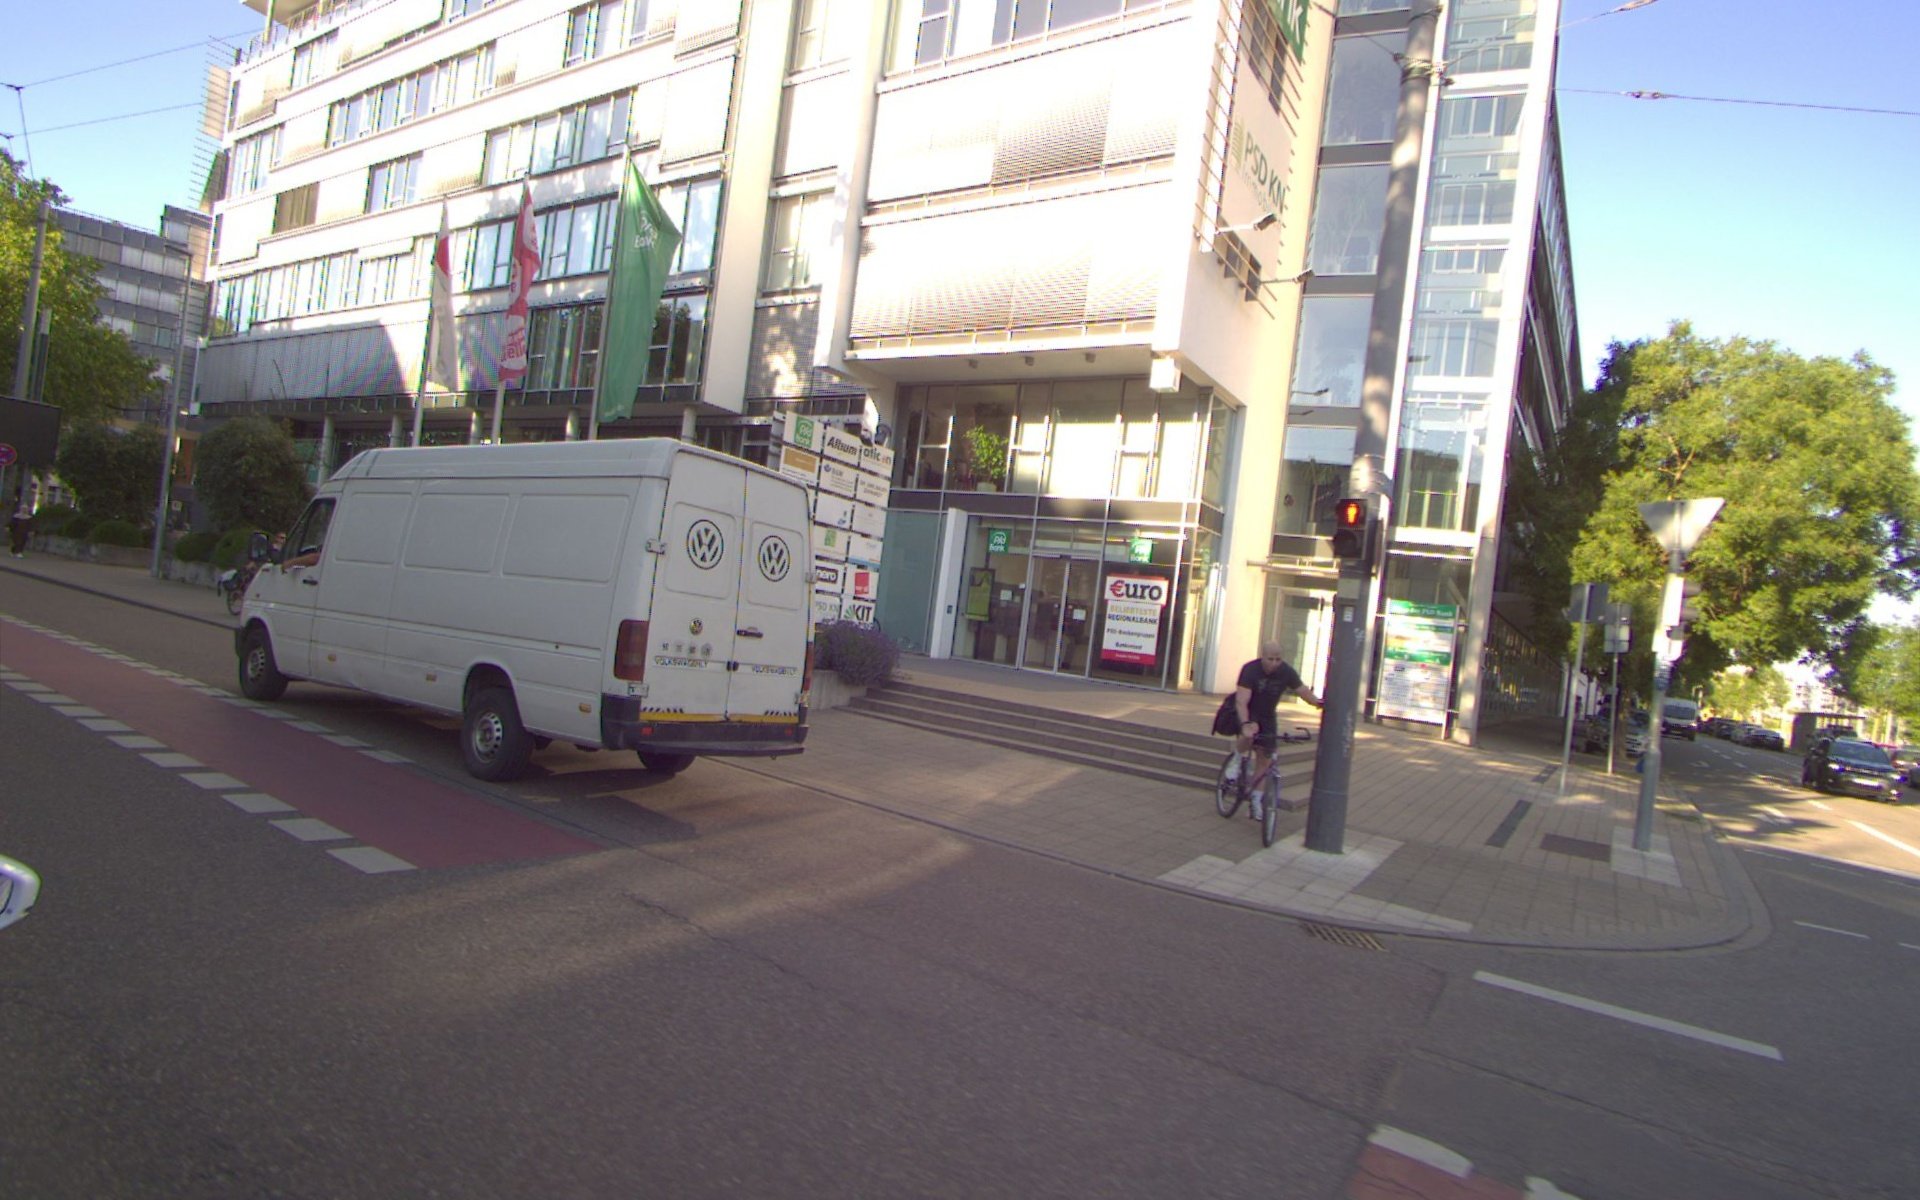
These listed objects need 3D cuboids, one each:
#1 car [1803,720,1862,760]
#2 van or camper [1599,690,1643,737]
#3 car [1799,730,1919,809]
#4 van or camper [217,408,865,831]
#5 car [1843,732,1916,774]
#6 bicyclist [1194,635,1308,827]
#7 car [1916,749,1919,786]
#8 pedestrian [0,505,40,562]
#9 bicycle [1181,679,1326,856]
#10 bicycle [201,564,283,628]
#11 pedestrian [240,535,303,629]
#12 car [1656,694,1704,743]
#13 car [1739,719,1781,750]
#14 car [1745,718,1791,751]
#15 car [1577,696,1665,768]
[{"bbox_3d":[52.075,8.310,60.135,1.968,1.945,3.991,6,-1,34],"label":"car"},{"bbox_3d":[41.148,7.043,62.671,1.955,2.534,4.392,7,-1,33],"label":"van or camper"},{"bbox_3d":[26.479,4.912,29.702,1.955,1.716,3.991,9,0,33],"label":"car"},{"bbox_3d":[-4.035,-0.066,9.018,6.203,2.747,1.972,7,-2,34],"label":"van or camper"},{"bbox_3d":[46.097,7.657,50.526,1.968,1.620,3.991,6,-1,34],"label":"car"},{"bbox_3d":[2.791,1.224,9.728,0.640,1.692,0.863,7,0,-1],"label":"bicyclist"},{"bbox_3d":[38.253,6.523,38.231,1.968,1.620,3.991,6,-1,34],"label":"car"},{"bbox_3d":[-28.002,-1.976,29.968,0.711,1.601,0.642,6,3,27],"label":"pedestrian"},{"bbox_3d":[2.758,1.531,9.684,0.640,1.297,1.864,7,1,-2],"label":"bicycle"},{"bbox_3d":[-13.532,-0.091,18.933,2.166,0.988,0.520,7,3,35],"label":"bicycle"},{"bbox_3d":[-13.184,-0.340,19.275,0.641,1.701,0.647,7,0,34],"label":"pedestrian"},{"bbox_3d":[45.286,7.501,63.376,2.022,2.704,5.011,6,-3,34],"label":"car"},{"bbox_3d":[58.993,9.947,74.227,1.969,1.931,3.993,6,-3,35],"label":"car"},{"bbox_3d":[55.896,9.303,69.651,1.969,1.931,3.993,6,-3,35],"label":"car"},{"bbox_3d":[19.942,3.924,30.414,1.955,1.716,3.991,7,-1,33],"label":"car"}]
